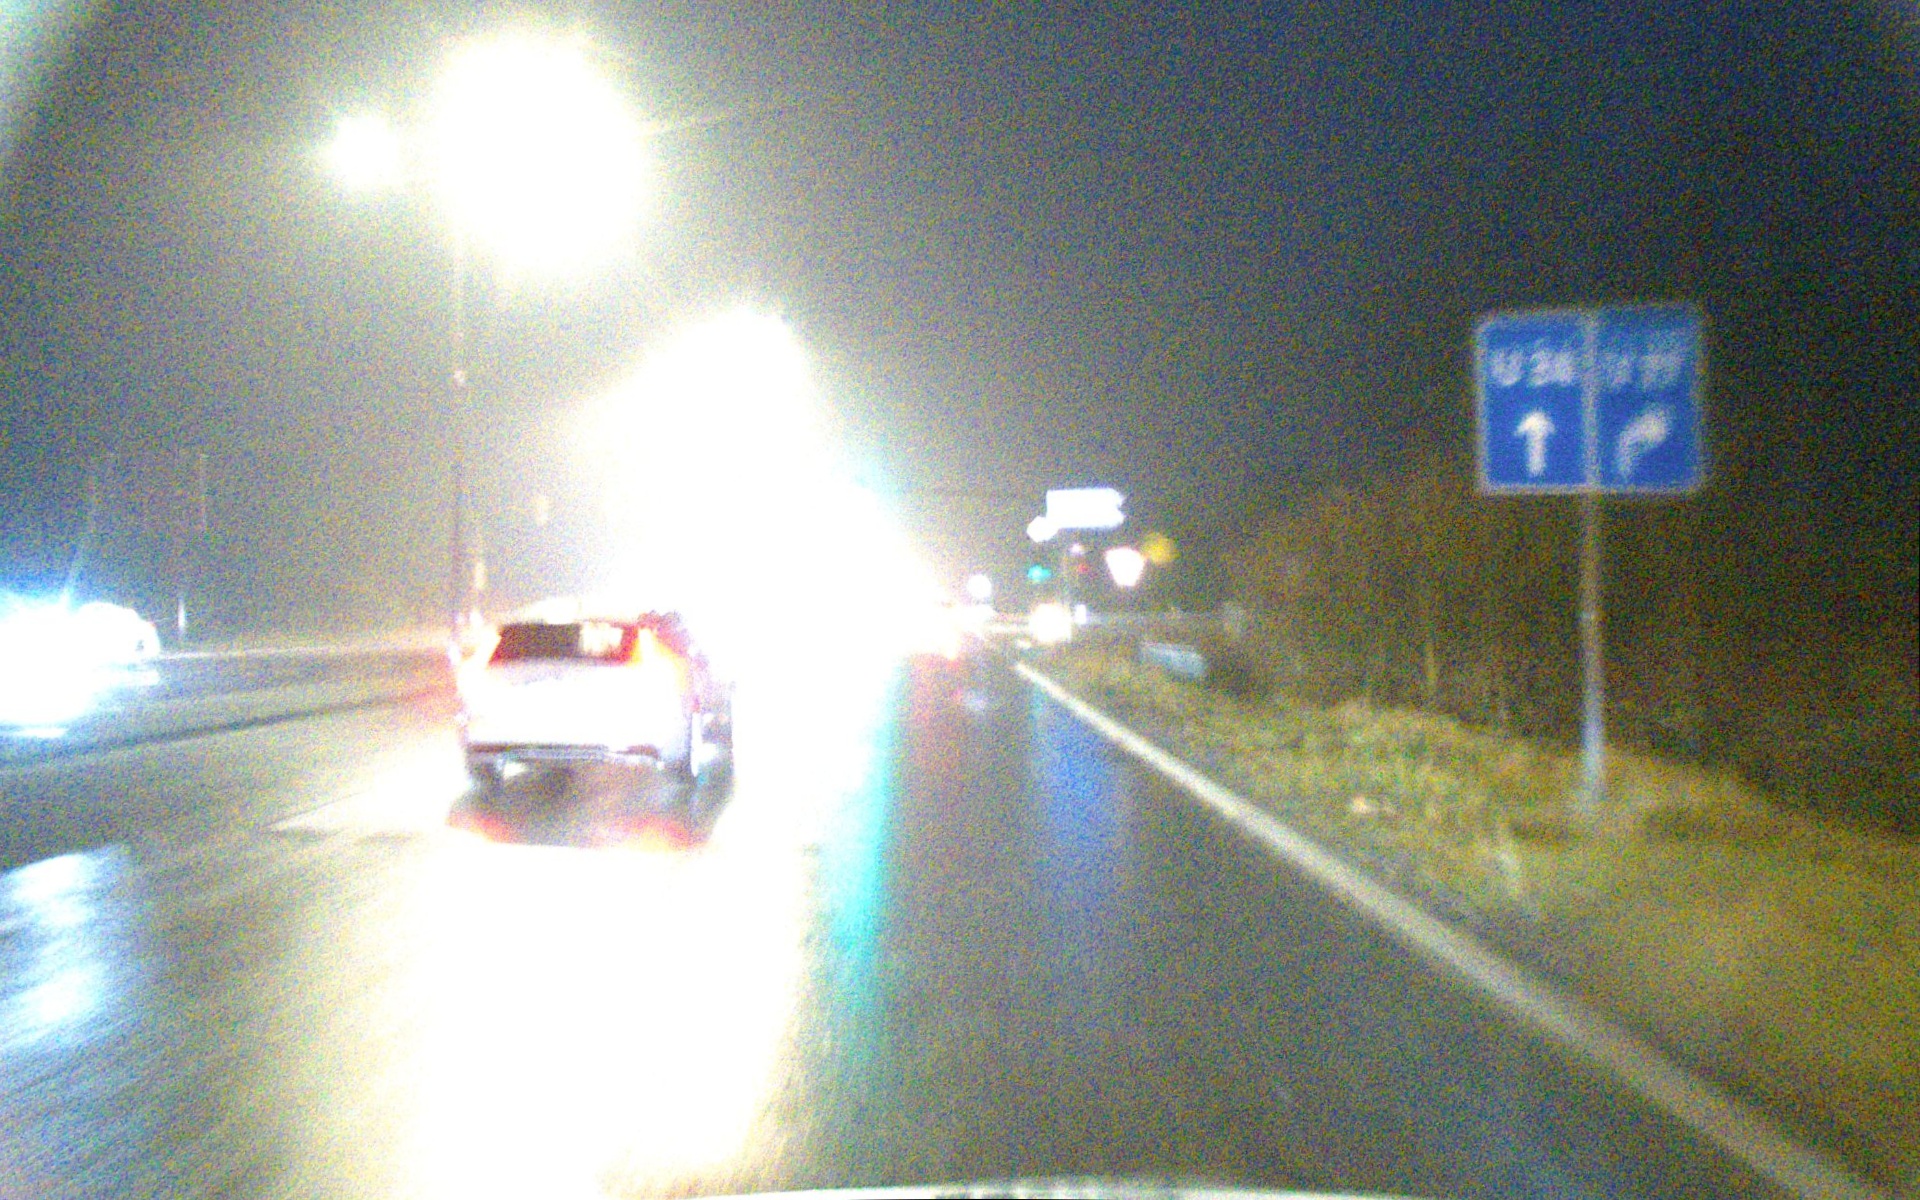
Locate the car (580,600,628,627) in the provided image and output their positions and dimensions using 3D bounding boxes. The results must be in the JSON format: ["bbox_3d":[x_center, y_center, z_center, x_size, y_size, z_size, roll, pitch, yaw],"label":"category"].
[{"bbox_3d":[-16.874,0.614,78.551,1.610,1.224,3.613,0,0,-2],"label":"car"}]

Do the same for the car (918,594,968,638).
[{"bbox_3d":[-0.720,0.731,73.208,1.871,1.629,4.000,4,-3,2],"label":"car"}]

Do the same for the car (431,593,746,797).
[{"bbox_3d":[-2.982,0.689,14.195,1.760,1.477,4.268,1,0,-1],"label":"car"}]

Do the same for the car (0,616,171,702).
[{"bbox_3d":[-17.967,1.145,33.504,1.845,1.557,4.431,1,0,-1],"label":"car"}]

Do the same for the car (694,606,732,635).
[{"bbox_3d":[-13.239,1.089,88.831,1.557,1.452,3.350,0,0,0],"label":"car"}]

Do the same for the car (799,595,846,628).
[{"bbox_3d":[-8.013,0.684,96.503,2.133,1.629,4.000,4,-3,2],"label":"car"}]

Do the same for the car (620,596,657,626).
[{"bbox_3d":[-21.081,0.681,108.580,1.726,1.925,4.204,0,0,-1],"label":"car"}]

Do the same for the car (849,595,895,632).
[{"bbox_3d":[-4.573,0.713,86.759,2.134,1.629,3.999,5,-3,0],"label":"car"}]
